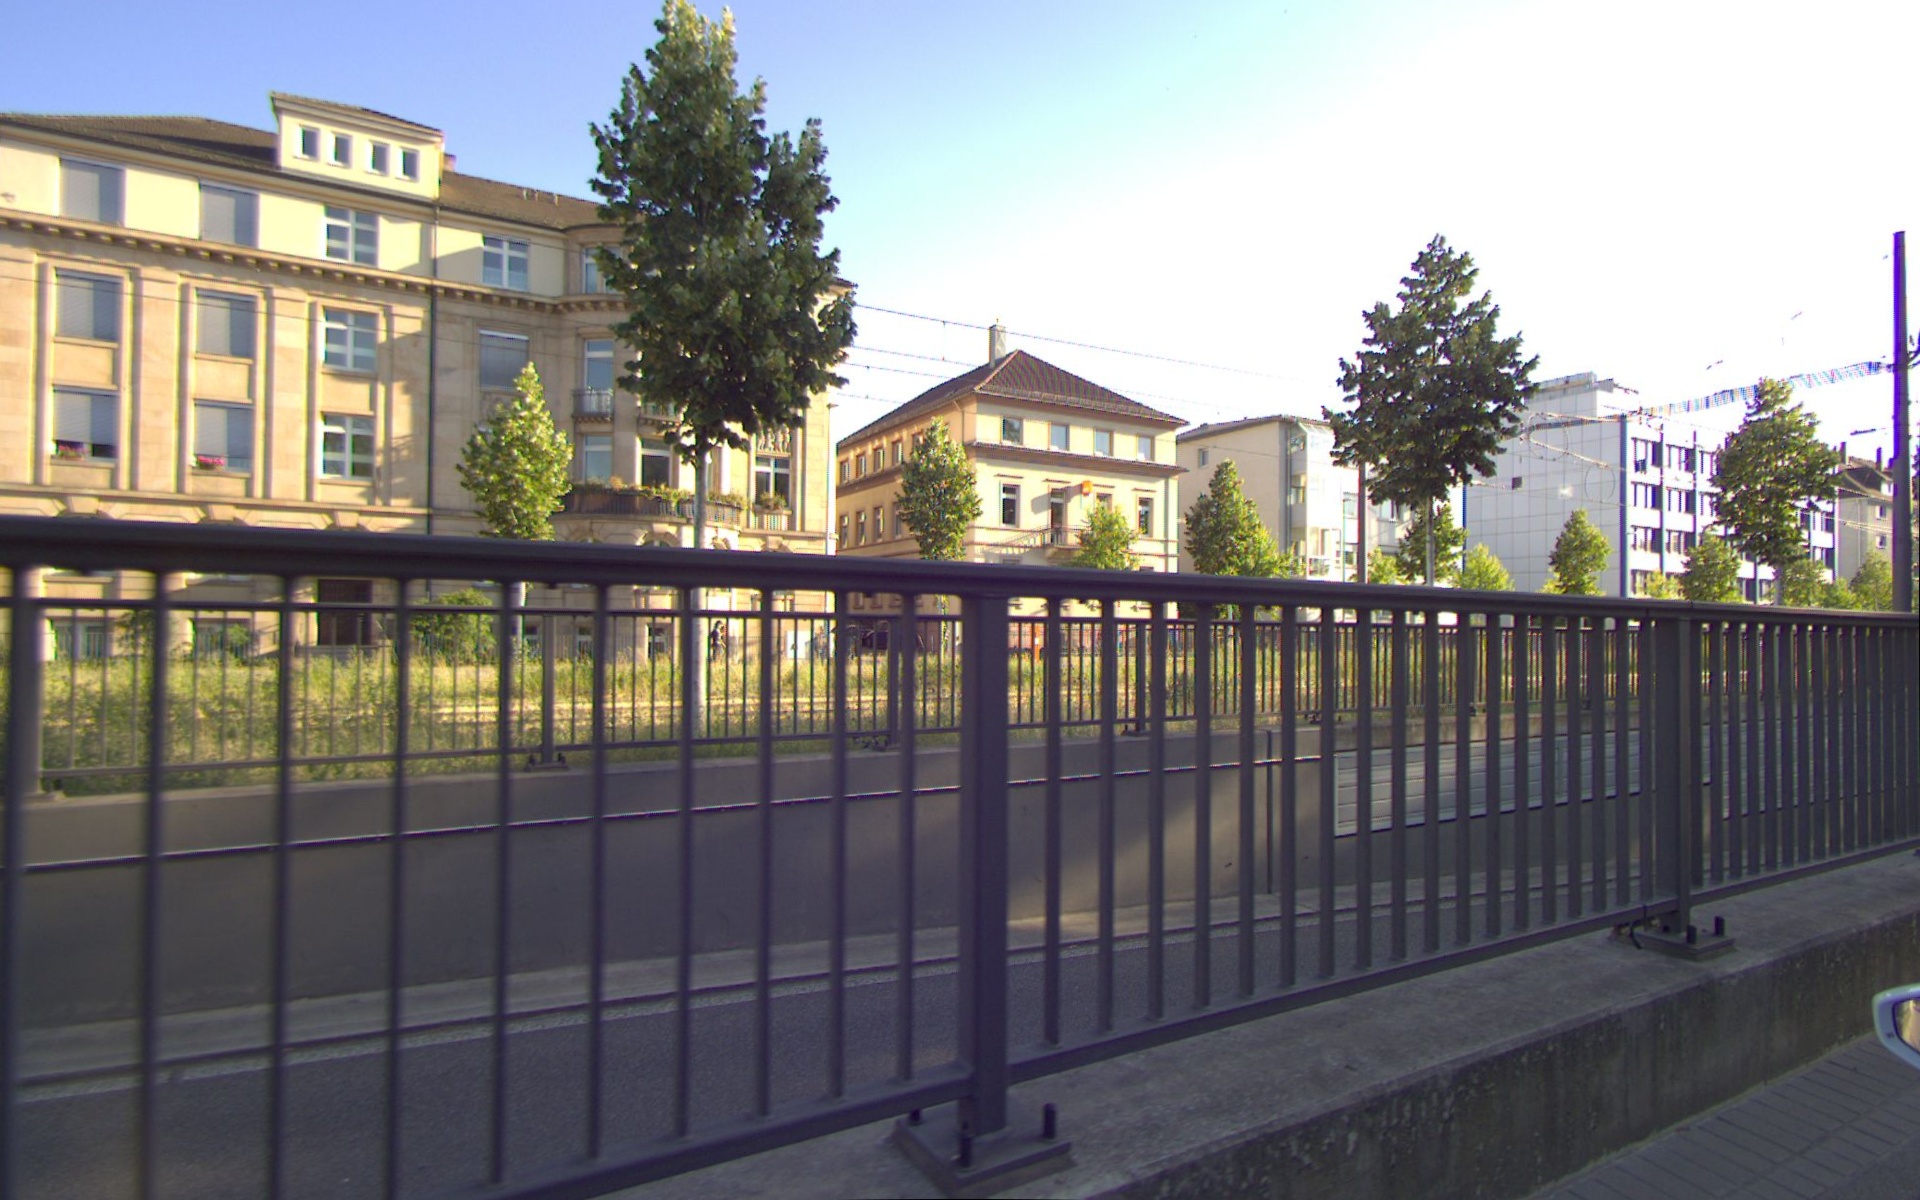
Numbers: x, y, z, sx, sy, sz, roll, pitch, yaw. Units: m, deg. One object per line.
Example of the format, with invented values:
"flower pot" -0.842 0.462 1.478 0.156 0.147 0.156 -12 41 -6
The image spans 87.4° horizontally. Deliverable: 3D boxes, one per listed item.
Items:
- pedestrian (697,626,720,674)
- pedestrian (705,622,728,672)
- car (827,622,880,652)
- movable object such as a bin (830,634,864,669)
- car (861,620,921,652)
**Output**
"pedestrian" -9.157 1.820 36.588 0.645 1.743 0.653 1 -1 -30
"pedestrian" -8.688 1.670 35.849 0.645 1.743 0.553 1 -1 -30
"car" -6.138 2.111 57.689 1.661 1.488 3.971 2 -1 -28
"movable object such as a bin" -4.761 2.157 42.260 1.067 1.448 1.200 1 -1 -30
"car" -3.677 1.870 53.174 1.661 1.488 3.971 2 -1 -28
